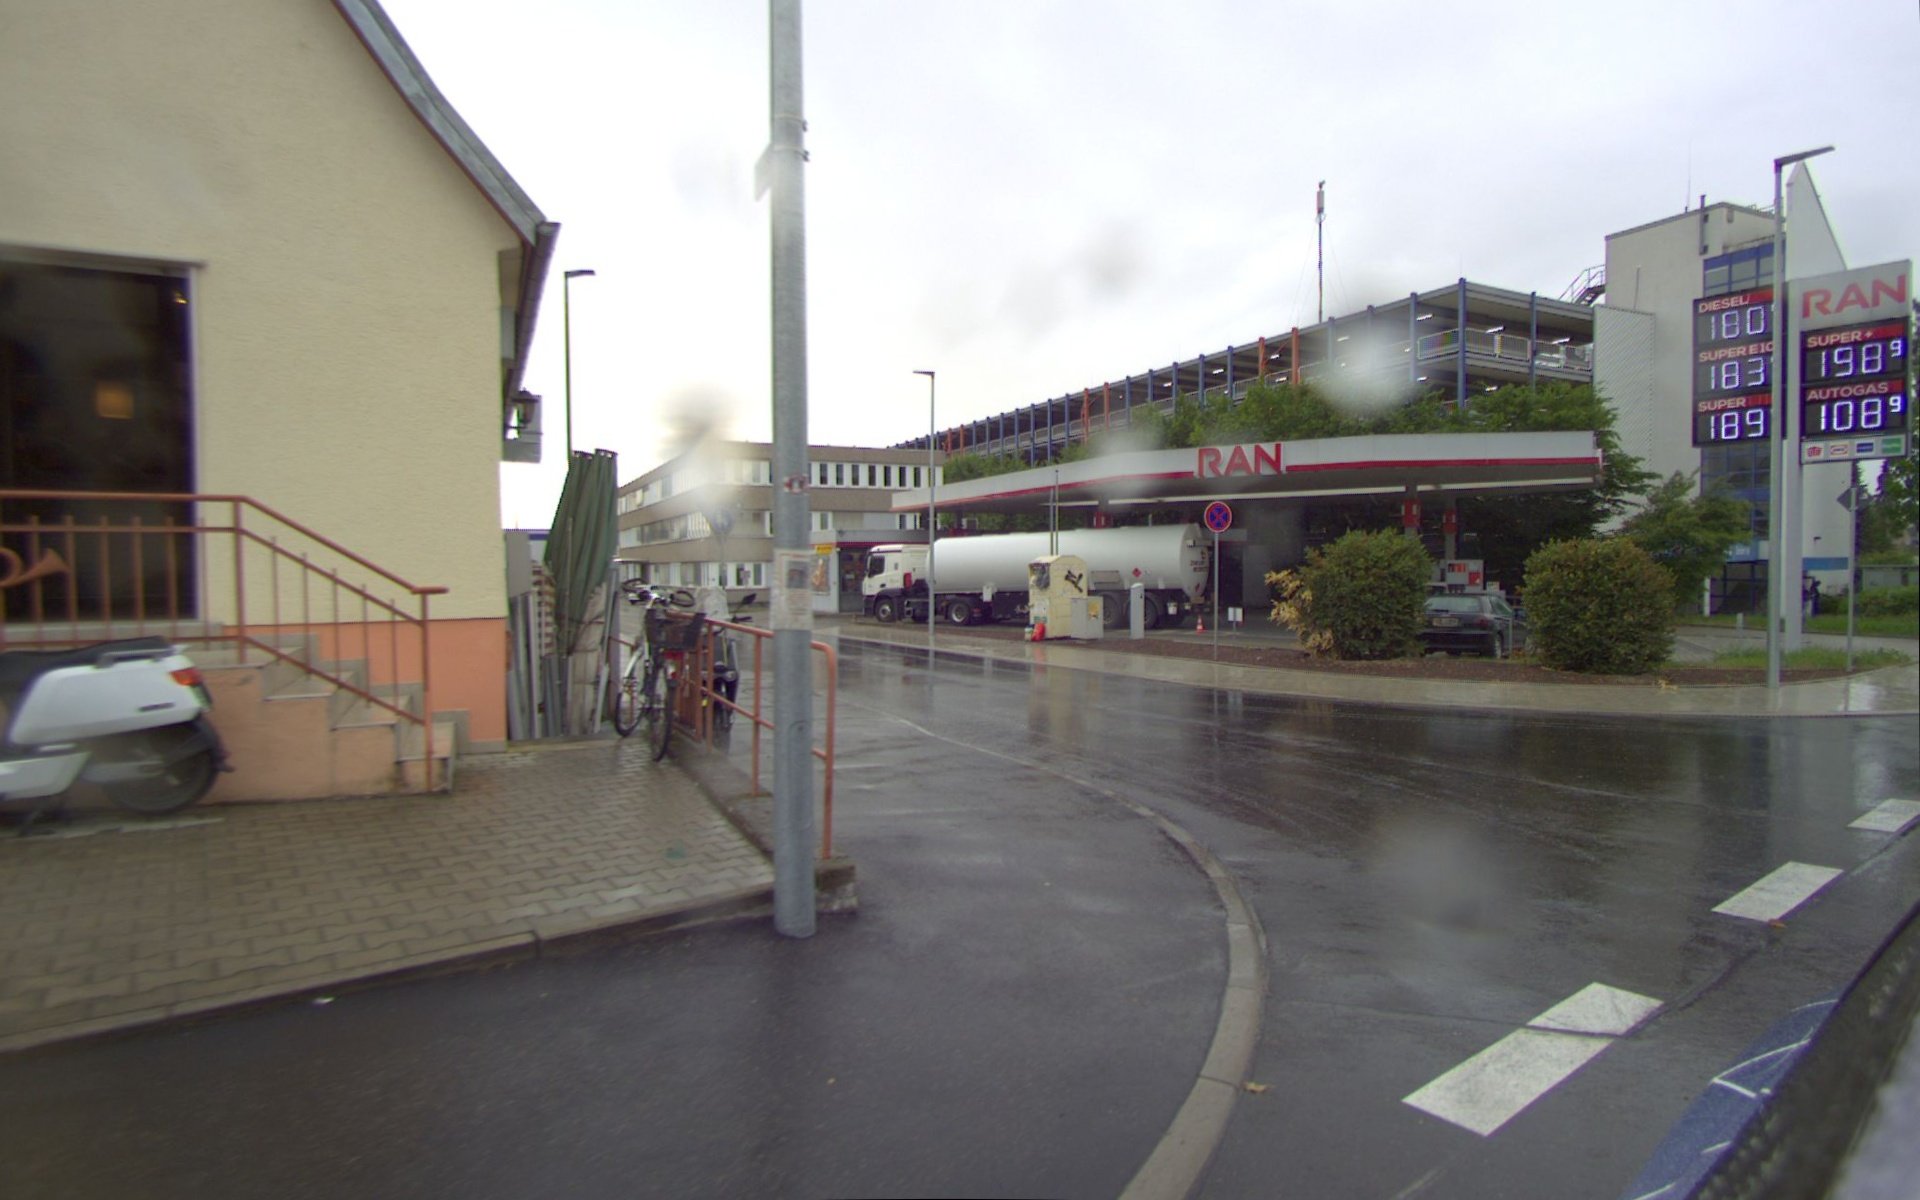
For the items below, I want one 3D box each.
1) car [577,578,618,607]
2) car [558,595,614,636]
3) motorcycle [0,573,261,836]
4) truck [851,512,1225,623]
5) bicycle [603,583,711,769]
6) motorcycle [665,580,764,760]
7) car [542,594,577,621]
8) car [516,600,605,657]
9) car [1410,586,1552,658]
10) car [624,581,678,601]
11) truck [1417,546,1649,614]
[{"bbox_3d":[-26.330,-0.580,73.499,1.961,2.038,4.002,-1,2,-33],"label":"car"},{"bbox_3d":[-15.919,0.613,42.962,1.958,1.527,4.205,1,1,-23],"label":"car"},{"bbox_3d":[-4.256,0.438,4.419,1.962,1.110,0.489,0,0,-34],"label":"motorcycle"},{"bbox_3d":[2.211,-1.027,36.524,14.328,3.403,2.612,0,-1,37],"label":"truck"},{"bbox_3d":[-2.125,0.444,6.961,0.479,1.110,1.779,1,0,-24],"label":"bicycle"},{"bbox_3d":[-2.302,0.555,9.328,0.479,1.474,2.043,-1,1,-25],"label":"motorcycle"},{"bbox_3d":[-29.152,0.530,73.639,1.959,1.805,4.006,-1,2,-27],"label":"car"},{"bbox_3d":[-11.814,0.776,29.783,1.959,1.393,4.266,0,2,-28],"label":"car"},{"bbox_3d":[11.289,0.400,21.794,1.688,1.356,4.274,1,2,42],"label":"car"},{"bbox_3d":[-23.492,-0.697,77.044,1.970,1.456,4.532,0,1,13],"label":"car"},{"bbox_3d":[21.421,-0.806,38.217,2.050,2.234,7.286,3,1,-43],"label":"truck"}]
